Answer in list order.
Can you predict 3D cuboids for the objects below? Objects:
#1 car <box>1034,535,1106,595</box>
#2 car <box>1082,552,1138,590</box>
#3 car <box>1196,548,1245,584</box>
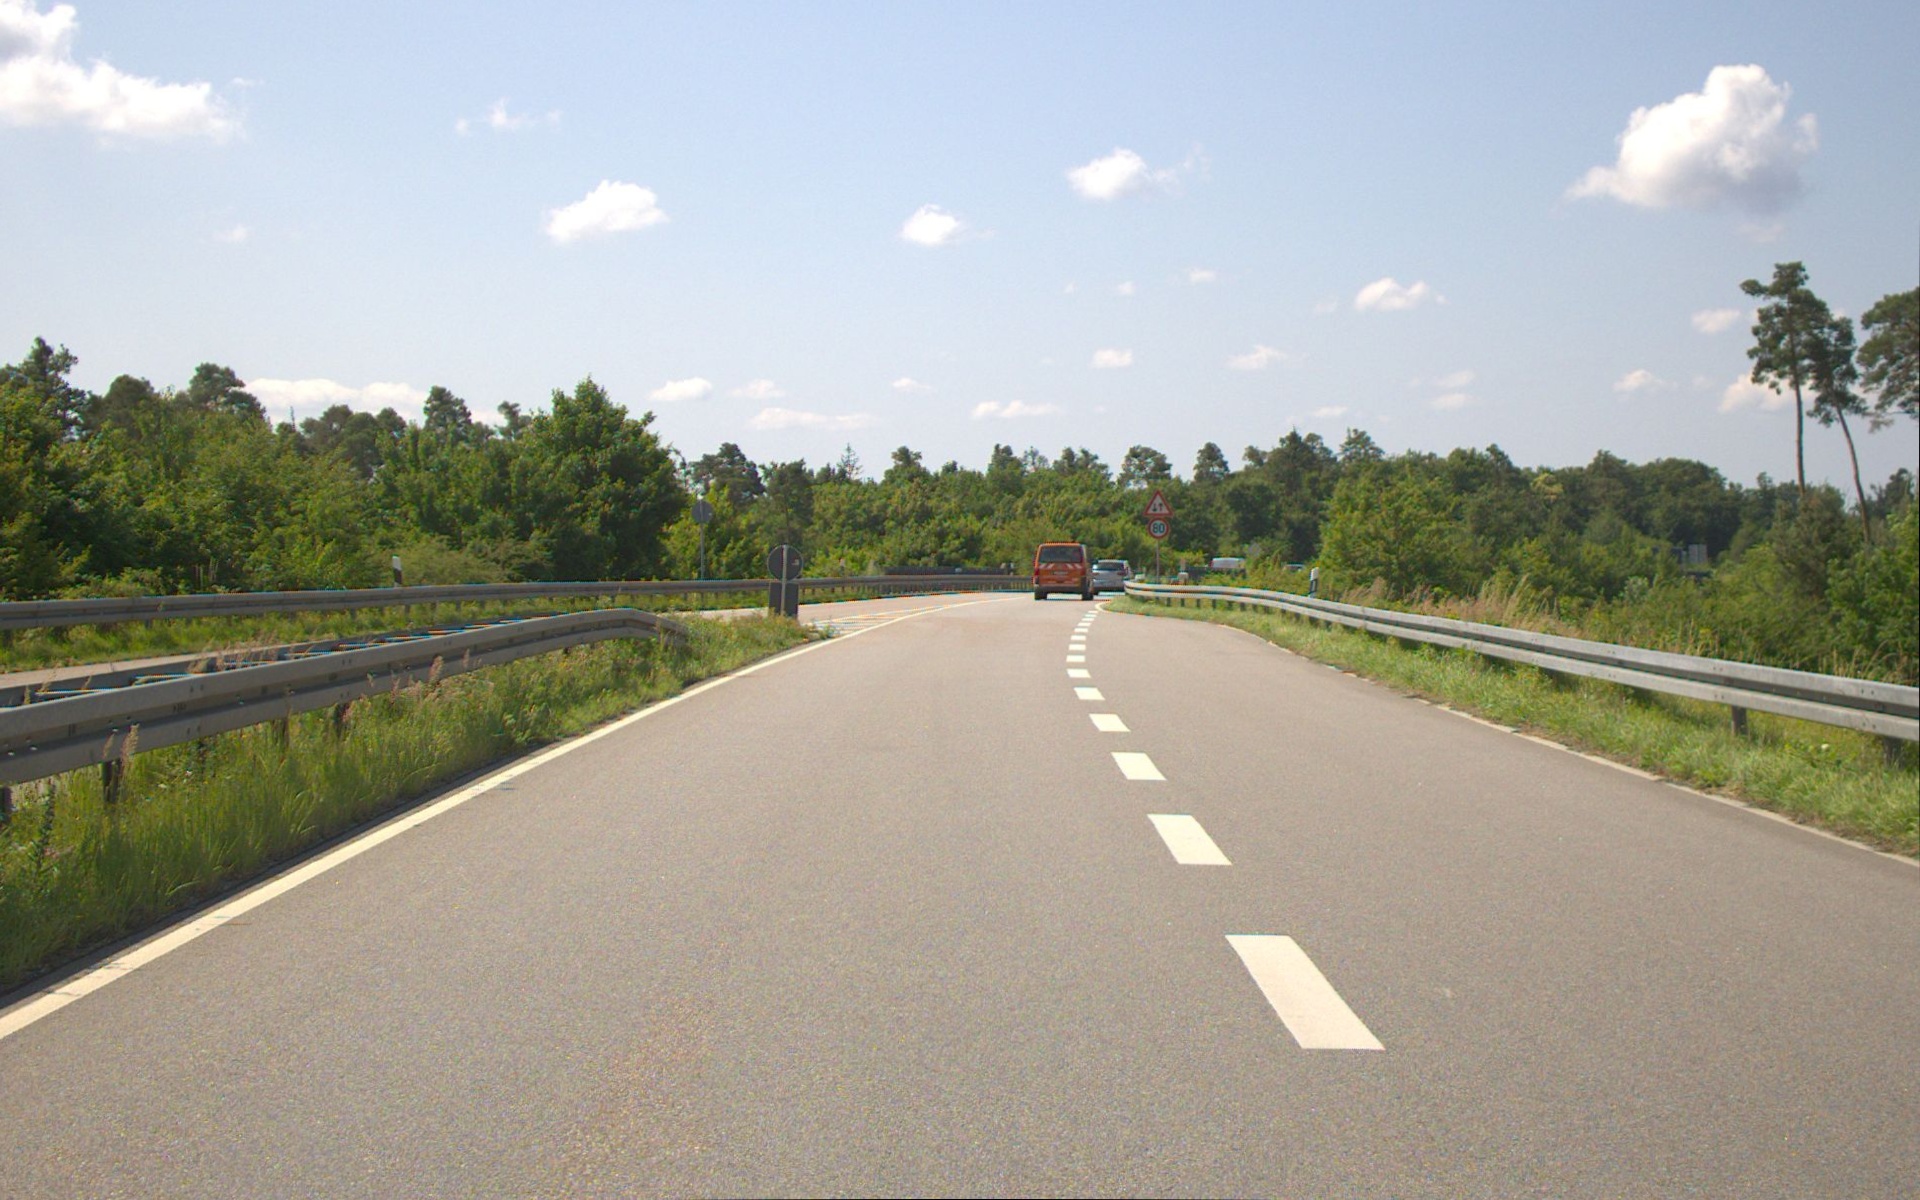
[{"bbox_3d":[3.829,-1.198,119.030,2.078,1.986,5.110,1,0,6],"label":"car"},{"bbox_3d":[6.154,-1.171,140.715,2.008,1.489,4.237,1,0,6],"label":"car"},{"bbox_3d":[14.840,-1.928,195.323,2.185,1.948,5.801,1,0,10],"label":"car"}]
